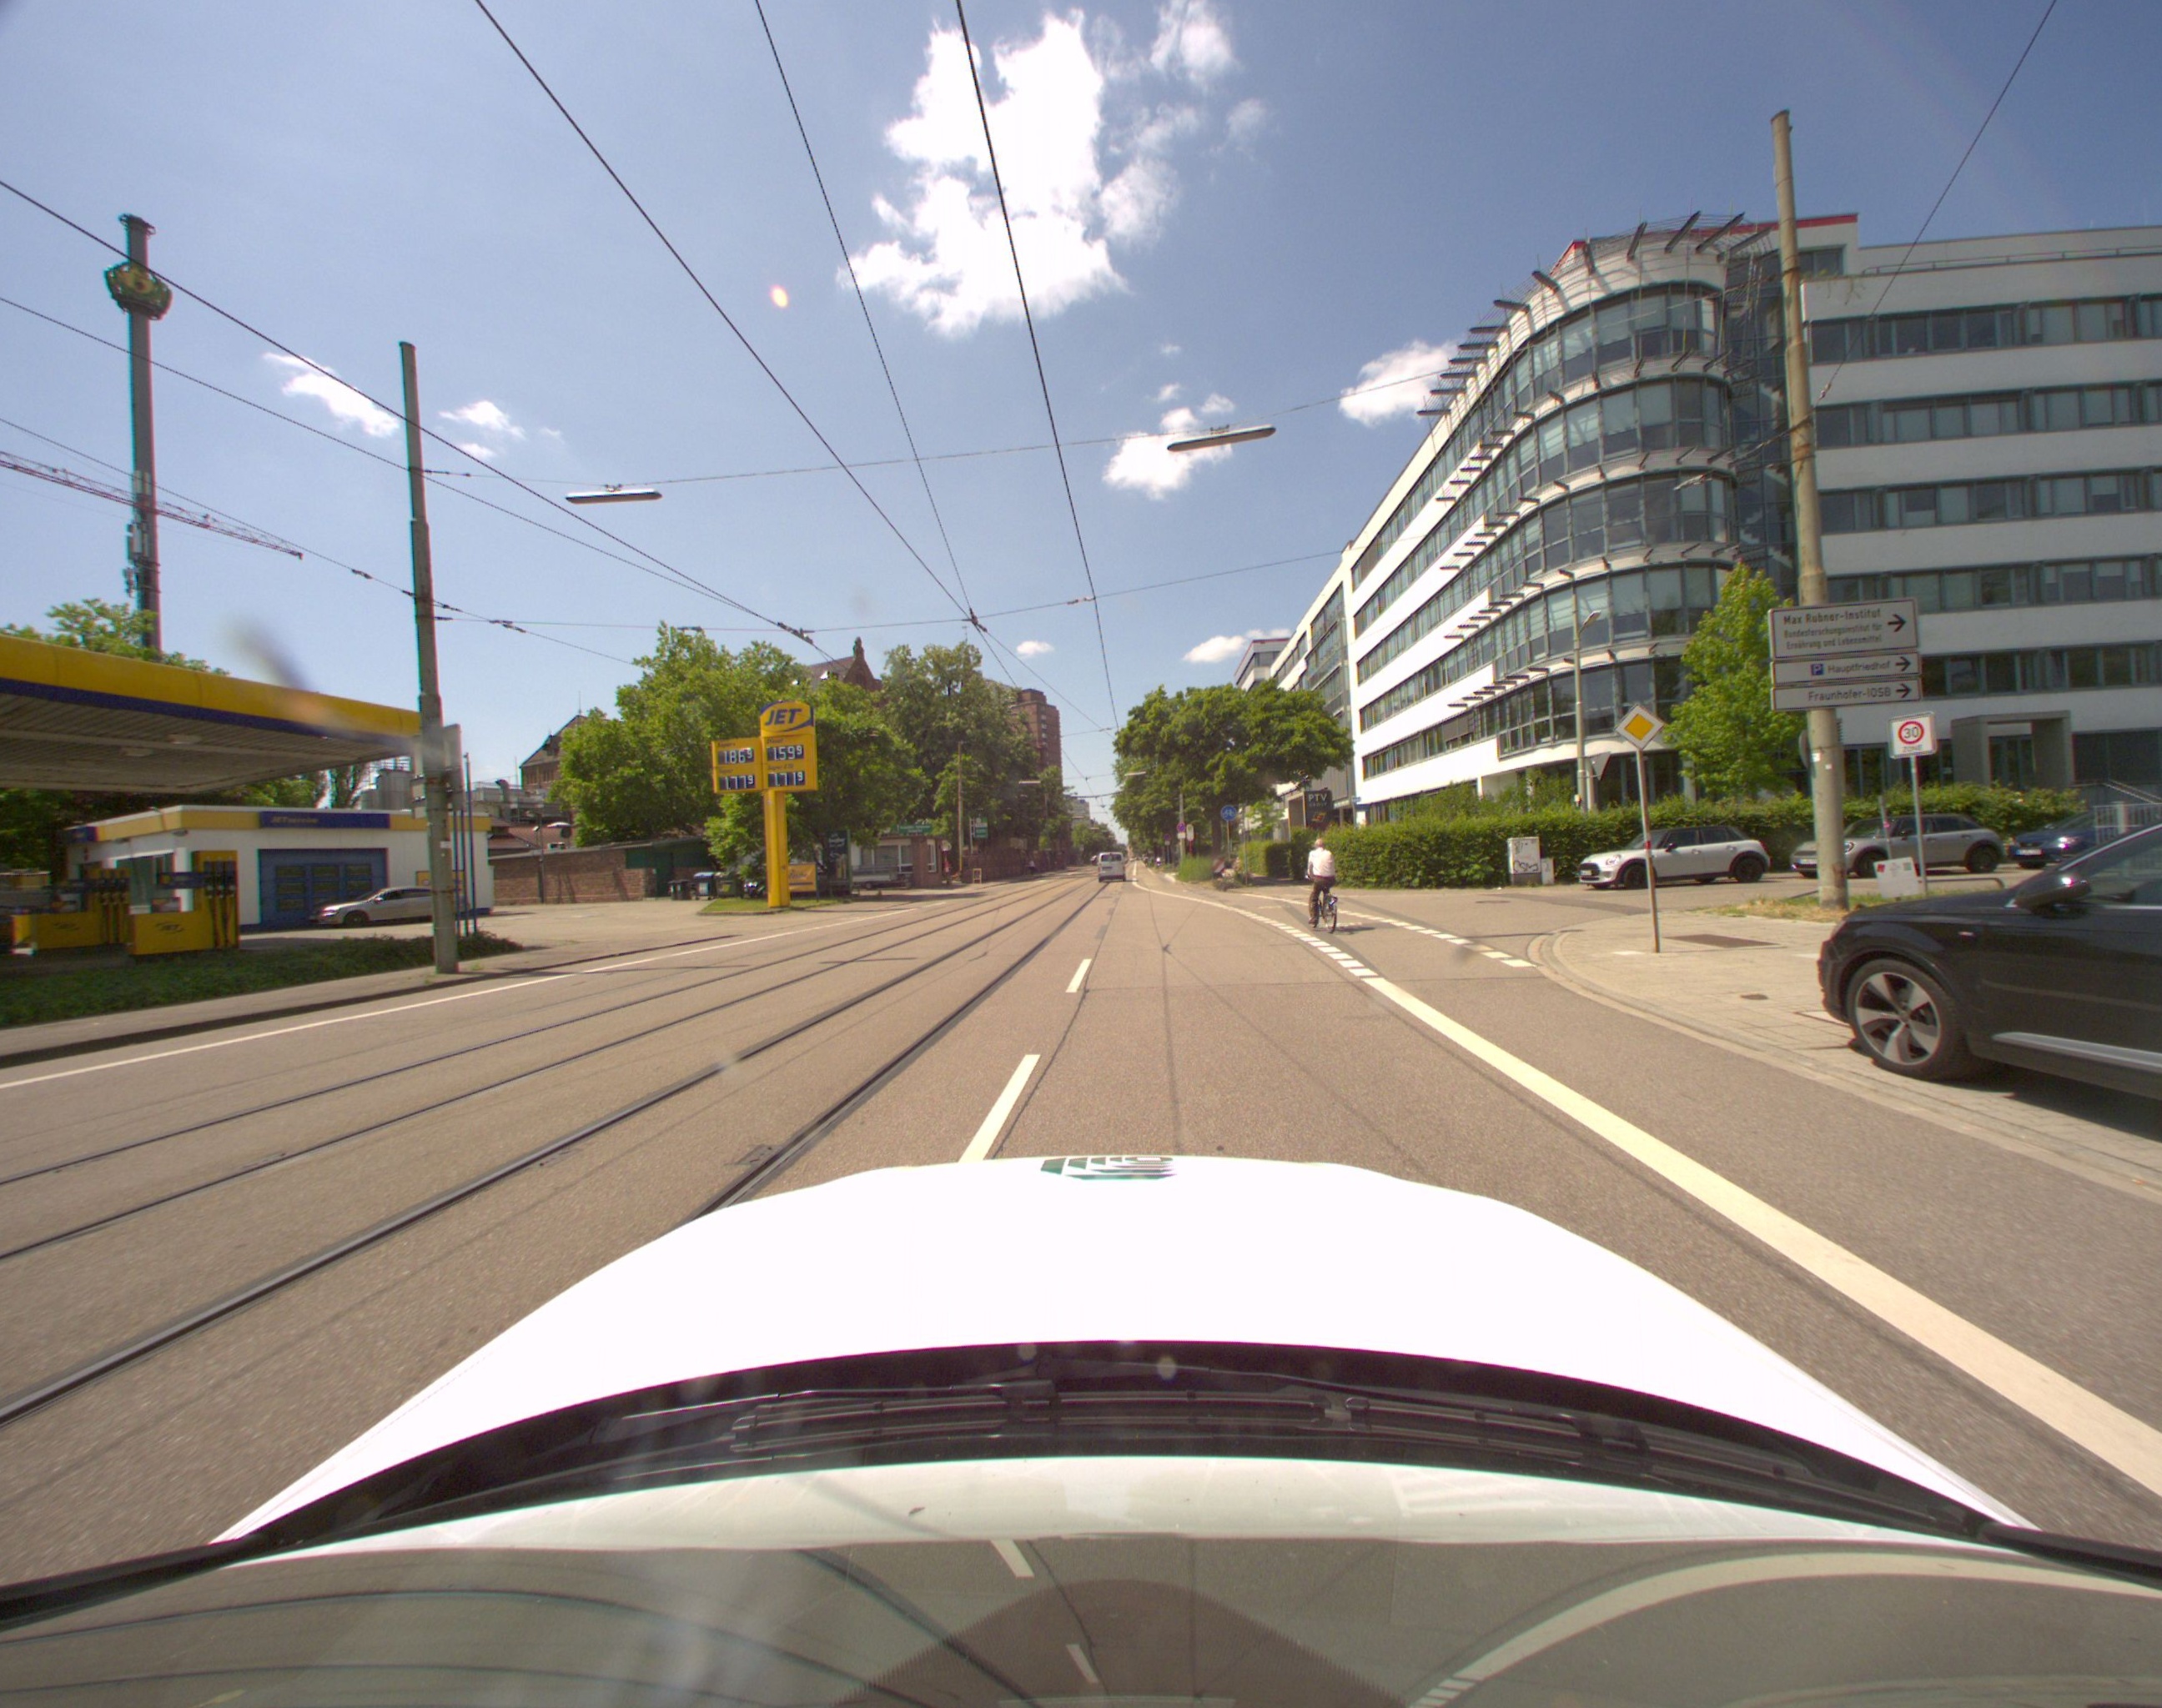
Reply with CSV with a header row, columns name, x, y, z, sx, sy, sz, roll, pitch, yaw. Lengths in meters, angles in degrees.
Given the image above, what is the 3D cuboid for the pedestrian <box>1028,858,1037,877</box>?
name,x,y,z,sx,sy,sz,roll,pitch,yaw
pedestrian,-5.316,1.516,89.333,0.860,2.014,0.646,-5,-2,1

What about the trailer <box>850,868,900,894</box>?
name,x,y,z,sx,sy,sz,roll,pitch,yaw
trailer,-12.941,1.726,51.318,2.715,1.526,1.331,-2,-2,4

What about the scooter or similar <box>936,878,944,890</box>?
name,x,y,z,sx,sy,sz,roll,pitch,yaw
scooter or similar,-9.963,2.121,57.578,0.430,0.863,0.500,-3,-2,1

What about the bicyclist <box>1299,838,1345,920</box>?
name,x,y,z,sx,sy,sz,roll,pitch,yaw
bicyclist,4.313,0.437,14.634,0.588,1.397,0.843,-3,-1,6

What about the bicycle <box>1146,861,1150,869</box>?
name,x,y,z,sx,sy,sz,roll,pitch,yaw
bicycle,8.683,1.458,105.402,0.386,0.964,1.699,-5,-2,1

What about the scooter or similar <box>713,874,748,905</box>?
name,x,y,z,sx,sy,sz,roll,pitch,yaw
scooter or similar,-17.727,1.780,41.188,1.165,1.467,1.062,-3,-2,9

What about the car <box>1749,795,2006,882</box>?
name,x,y,z,sx,sy,sz,roll,pitch,yaw
car,19.219,-0.344,19.835,4.127,1.799,1.963,-3,-1,4

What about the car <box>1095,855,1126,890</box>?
name,x,y,z,sx,sy,sz,roll,pitch,yaw
car,1.925,1.128,51.804,1.745,2.013,4.003,-4,0,3

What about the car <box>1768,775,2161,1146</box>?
name,x,y,z,sx,sy,sz,roll,pitch,yaw
car,5.783,0.428,3.445,1.853,1.687,5.009,-4,-1,6

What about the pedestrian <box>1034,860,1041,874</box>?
name,x,y,z,sx,sy,sz,roll,pitch,yaw
pedestrian,-5.541,1.620,103.989,0.674,1.727,0.983,-5,-2,1

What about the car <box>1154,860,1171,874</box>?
name,x,y,z,sx,sy,sz,roll,pitch,yaw
car,9.377,1.489,94.200,1.580,1.489,3.456,-5,-2,1

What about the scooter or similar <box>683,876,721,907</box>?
name,x,y,z,sx,sy,sz,roll,pitch,yaw
scooter or similar,-19.432,1.919,41.781,1.304,1.467,1.063,-3,-2,15

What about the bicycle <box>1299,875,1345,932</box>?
name,x,y,z,sx,sy,sz,roll,pitch,yaw
bicycle,4.317,0.861,14.675,0.463,0.887,2.053,-3,-1,8

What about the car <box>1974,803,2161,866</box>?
name,x,y,z,sx,sy,sz,roll,pitch,yaw
car,24.587,-0.481,19.518,3.969,1.335,2.002,-3,-1,4

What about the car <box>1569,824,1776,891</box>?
name,x,y,z,sx,sy,sz,roll,pitch,yaw
car,14.285,0.096,19.822,3.782,1.275,1.557,-4,-1,4

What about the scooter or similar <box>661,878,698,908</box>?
name,x,y,z,sx,sy,sz,roll,pitch,yaw
scooter or similar,-21.199,2.068,43.029,1.304,1.467,1.063,-4,-2,15

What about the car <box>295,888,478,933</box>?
name,x,y,z,sx,sy,sz,roll,pitch,yaw
car,-26.745,2.148,31.586,1.818,1.365,5.039,-4,-1,27

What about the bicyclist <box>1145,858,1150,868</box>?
name,x,y,z,sx,sy,sz,roll,pitch,yaw
bicyclist,8.660,1.146,105.439,0.538,1.157,0.575,-5,-2,1
